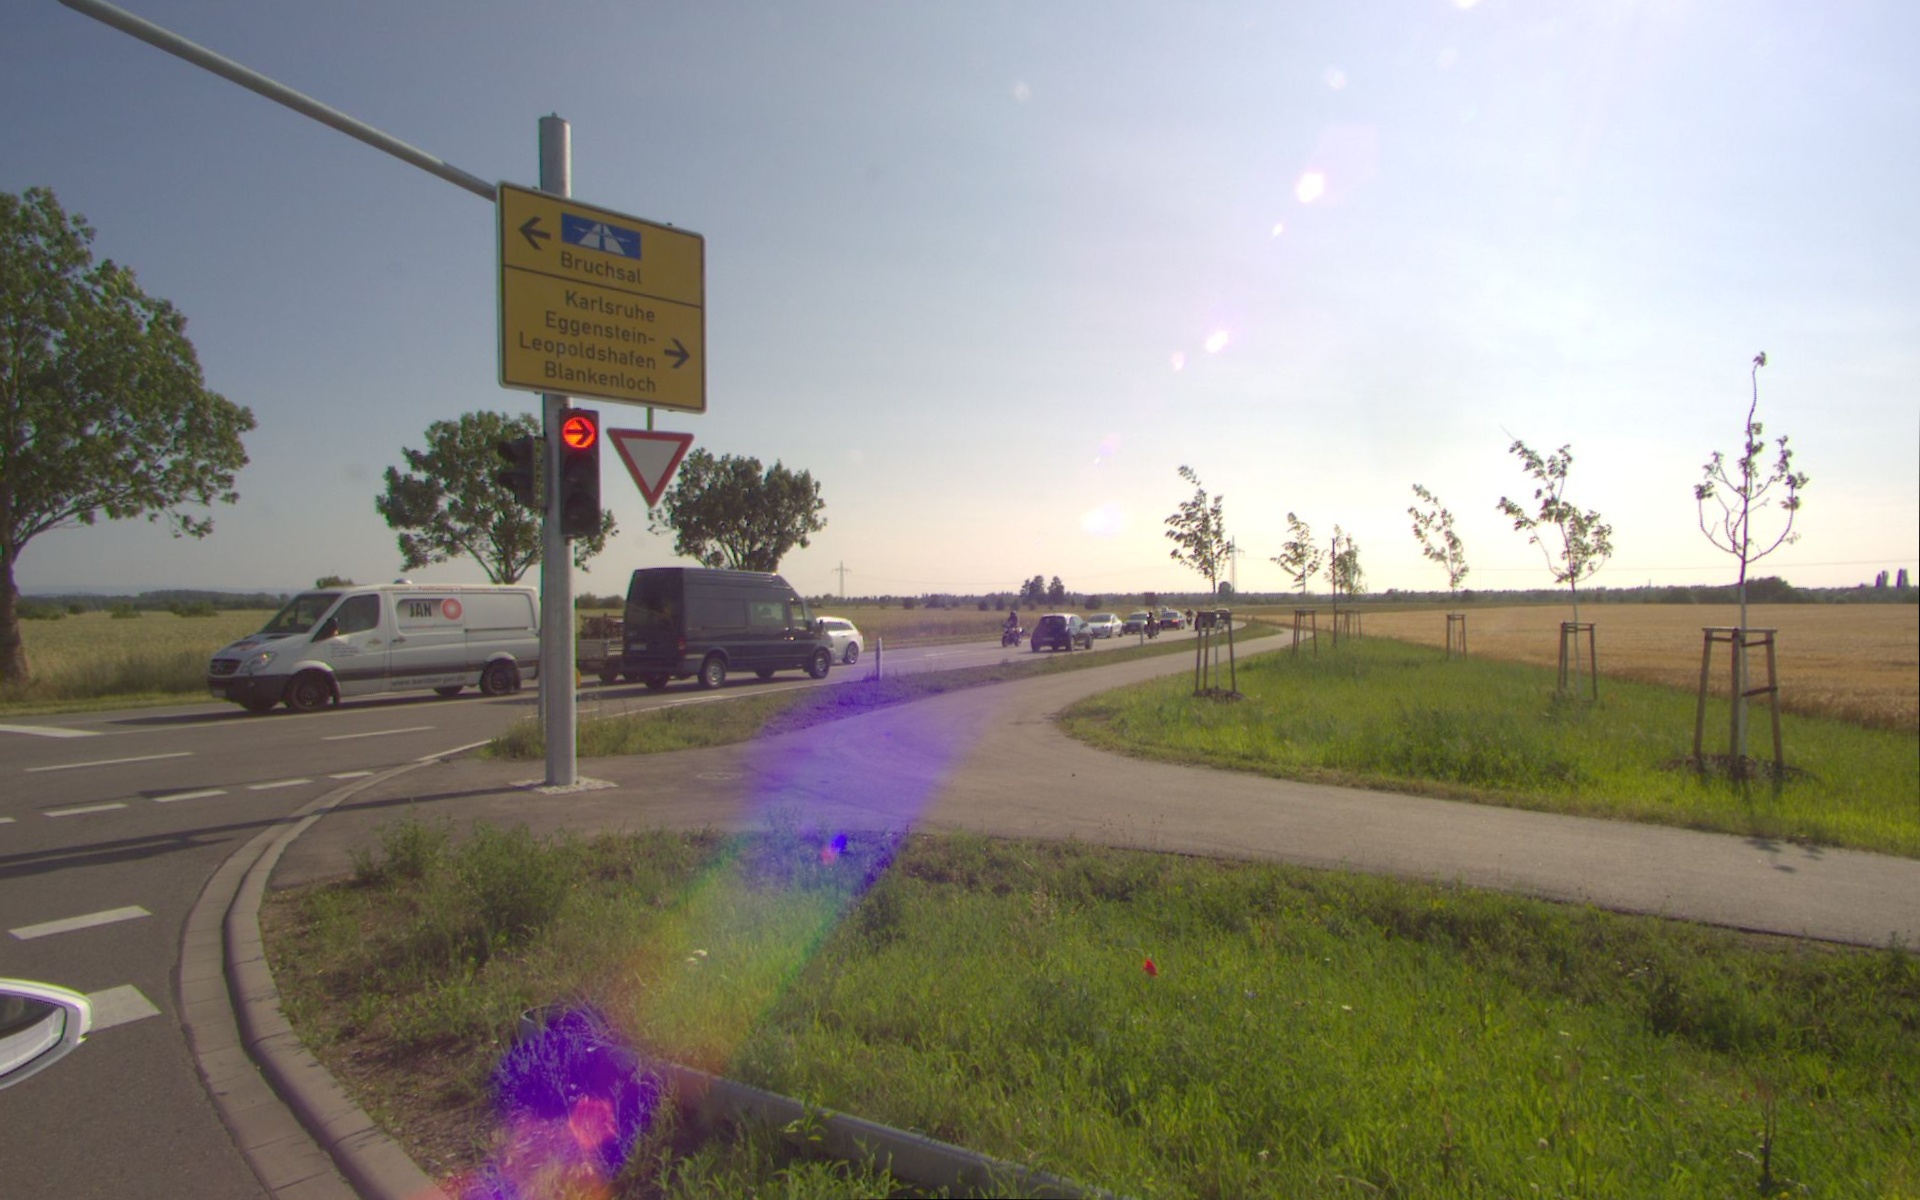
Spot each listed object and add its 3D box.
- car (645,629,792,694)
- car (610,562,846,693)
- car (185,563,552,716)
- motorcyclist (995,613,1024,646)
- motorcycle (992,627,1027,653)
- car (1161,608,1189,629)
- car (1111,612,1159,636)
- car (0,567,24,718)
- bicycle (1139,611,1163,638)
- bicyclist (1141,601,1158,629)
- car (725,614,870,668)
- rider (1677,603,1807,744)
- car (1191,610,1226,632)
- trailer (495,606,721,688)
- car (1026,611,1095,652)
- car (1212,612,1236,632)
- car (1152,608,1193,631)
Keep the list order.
[{"bbox_3d":[-6.296,1.572,26.522,1.664,1.516,3.988,-3,-2,24],"label":"car"},{"bbox_3d":[-5.173,0.575,23.308,2.003,2.657,5.724,0,0,30],"label":"car"},{"bbox_3d":[-11.171,0.668,19.564,1.970,2.525,5.948,-2,0,30],"label":"car"},{"bbox_3d":[2.280,1.364,46.007,1.013,1.479,1.067,0,-1,27],"label":"motorcyclist"},{"bbox_3d":[2.279,1.832,46.029,0.836,1.133,2.140,0,-2,26],"label":"motorcycle"},{"bbox_3d":[20.558,1.766,95.667,1.966,1.950,3.990,0,-1,23],"label":"car"},{"bbox_3d":[12.323,1.693,70.320,1.990,1.609,4.868,-2,-2,27],"label":"car"},{"bbox_3d":[-18.730,0.672,15.397,2.355,2.610,5.892,-1,-2,26],"label":"car"},{"bbox_3d":[10.680,1.346,55.930,0.720,1.415,2.490,-1,0,26],"label":"bicycle"},{"bbox_3d":[10.546,0.831,55.712,0.745,1.508,0.808,-1,-2,27],"label":"bicyclist"},{"bbox_3d":[-4.902,1.255,30.970,1.969,1.529,4.868,-2,-3,27],"label":"car"},{"bbox_3d":[9.628,0.873,12.357,0.973,1.665,0.820,0,1,-17],"label":"rider"},{"bbox_3d":[18.826,1.550,75.829,1.889,1.539,4.675,1,0,23],"label":"car"},{"bbox_3d":[-8.405,1.043,24.484,1.925,1.776,5.254,-1,-1,30],"label":"trailer"},{"bbox_3d":[4.101,1.228,40.363,1.700,1.476,3.727,0,1,24],"label":"car"},{"bbox_3d":[23.767,1.993,90.079,1.733,1.689,3.963,-1,-2,18],"label":"car"},{"bbox_3d":[16.989,1.602,80.012,1.969,1.712,4.867,-2,-2,27],"label":"car"}]
